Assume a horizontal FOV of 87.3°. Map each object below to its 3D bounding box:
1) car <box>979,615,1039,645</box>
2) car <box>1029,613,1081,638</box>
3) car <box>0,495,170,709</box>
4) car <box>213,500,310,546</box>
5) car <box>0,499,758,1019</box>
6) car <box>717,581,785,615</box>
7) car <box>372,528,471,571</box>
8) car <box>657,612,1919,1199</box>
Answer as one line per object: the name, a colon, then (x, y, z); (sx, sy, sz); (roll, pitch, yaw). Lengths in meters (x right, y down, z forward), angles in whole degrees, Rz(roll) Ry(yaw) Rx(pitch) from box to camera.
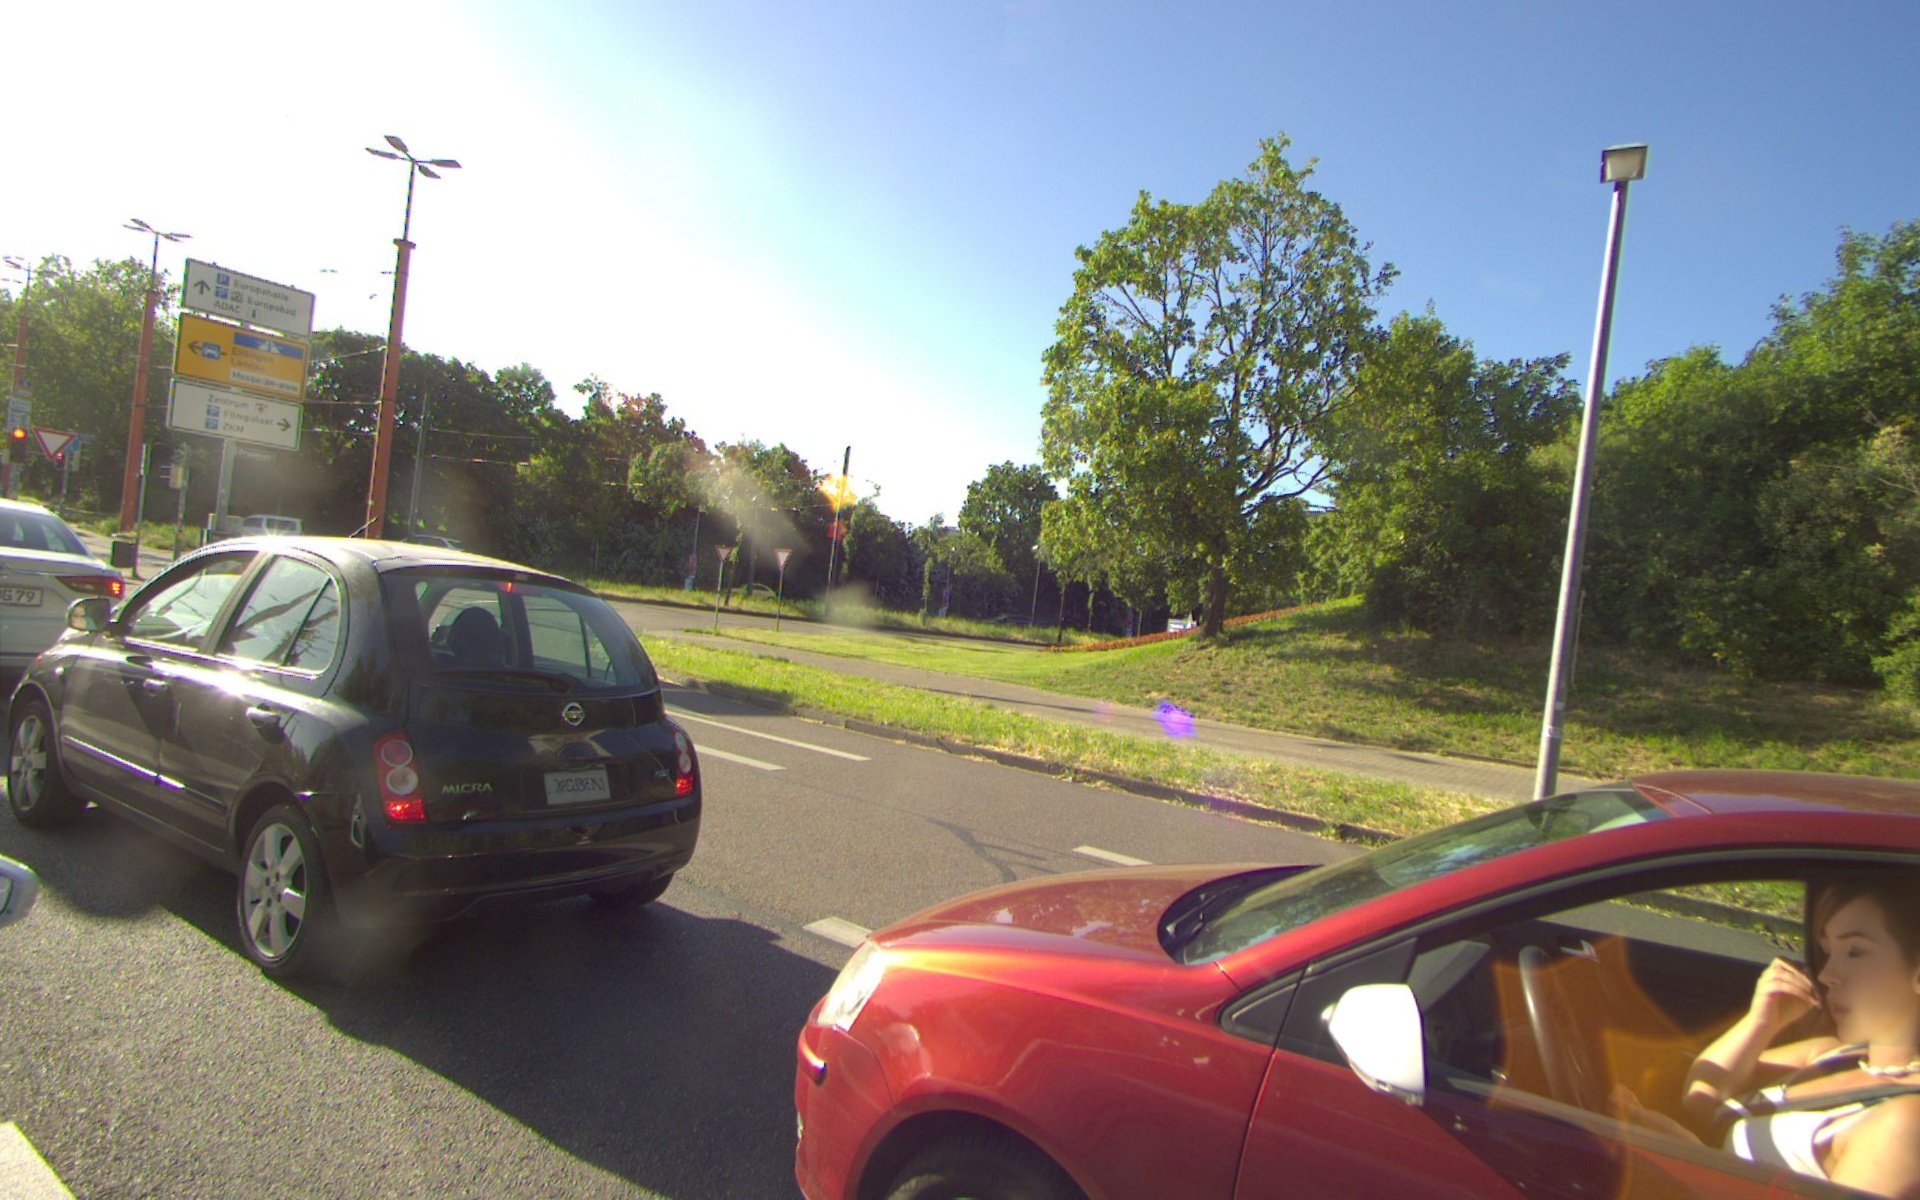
car: (3.702, 2.298, 75.792); (4.174, 1.701, 1.643); (8, -1, -31)
car: (7.799, 2.119, 82.641); (3.887, 1.474, 1.643); (8, -1, -31)
car: (-8.372, -0.175, 8.078); (4.256, 1.457, 1.802); (6, -2, 33)
car: (-37.750, -4.130, 54.505); (4.092, 1.771, 1.643); (8, -1, -32)
car: (-2.800, 0.467, 4.623); (3.385, 1.457, 1.579); (6, -2, 32)
car: (-14.337, -0.119, 69.045); (4.176, 1.701, 1.643); (8, -1, -32)
car: (-29.802, -2.787, 55.721); (4.629, 1.644, 1.643); (8, -1, -32)
car: (1.343, 1.002, 1.867); (3.629, 1.477, 1.579); (6, -2, 32)
